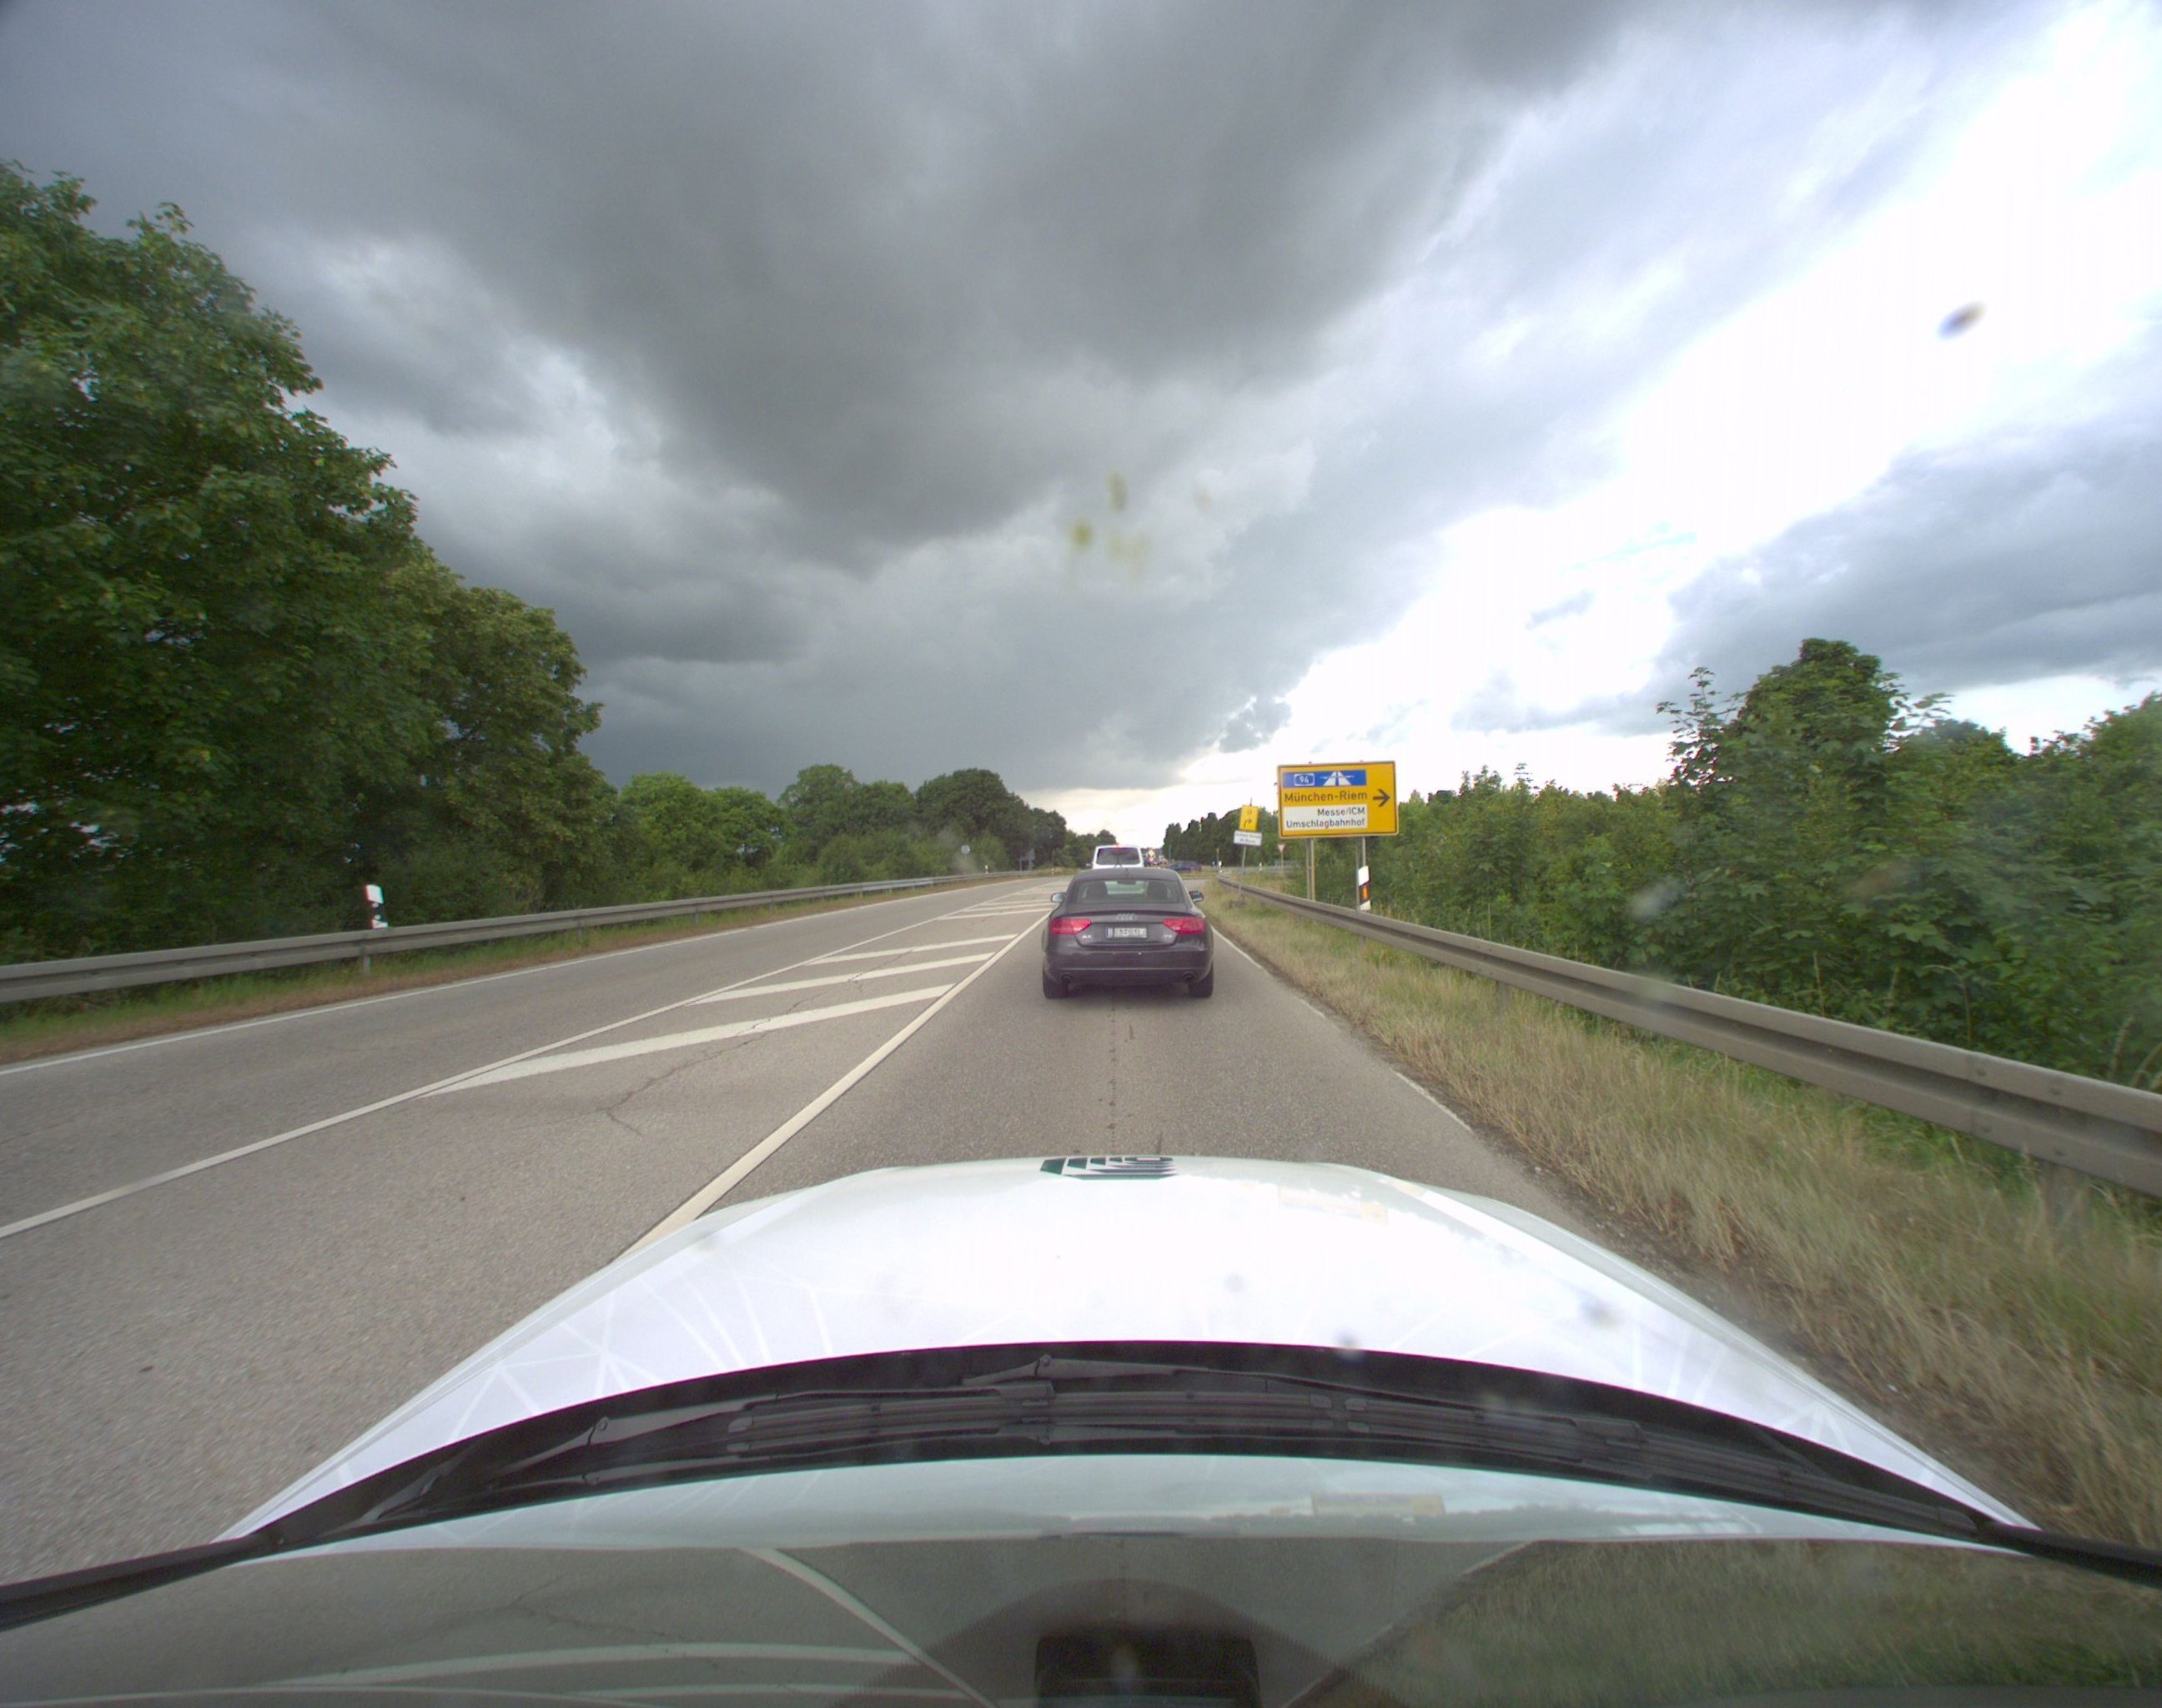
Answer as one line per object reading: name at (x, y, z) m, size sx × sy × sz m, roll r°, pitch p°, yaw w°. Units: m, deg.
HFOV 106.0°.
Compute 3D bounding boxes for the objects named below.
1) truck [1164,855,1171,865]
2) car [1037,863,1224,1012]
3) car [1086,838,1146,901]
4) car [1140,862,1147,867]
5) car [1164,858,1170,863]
truck at (25.618, 1.828, 242.471) m, size 1.984 × 2.918 × 5.801 m, roll -1°, pitch 0°, yaw 5°
car at (0.529, 0.818, 9.501) m, size 1.773 × 1.399 × 3.337 m, roll -1°, pitch -1°, yaw 2°
car at (1.210, 0.497, 28.416) m, size 1.903 × 2.013 × 4.002 m, roll -1°, pitch 0°, yaw 2°
car at (17.200, 2.833, 223.258) m, size 1.728 × 1.454 × 4.001 m, roll -1°, pitch 0°, yaw 1°
car at (27.527, 2.121, 260.840) m, size 1.984 × 1.692 × 4.005 m, roll -1°, pitch 0°, yaw 5°
